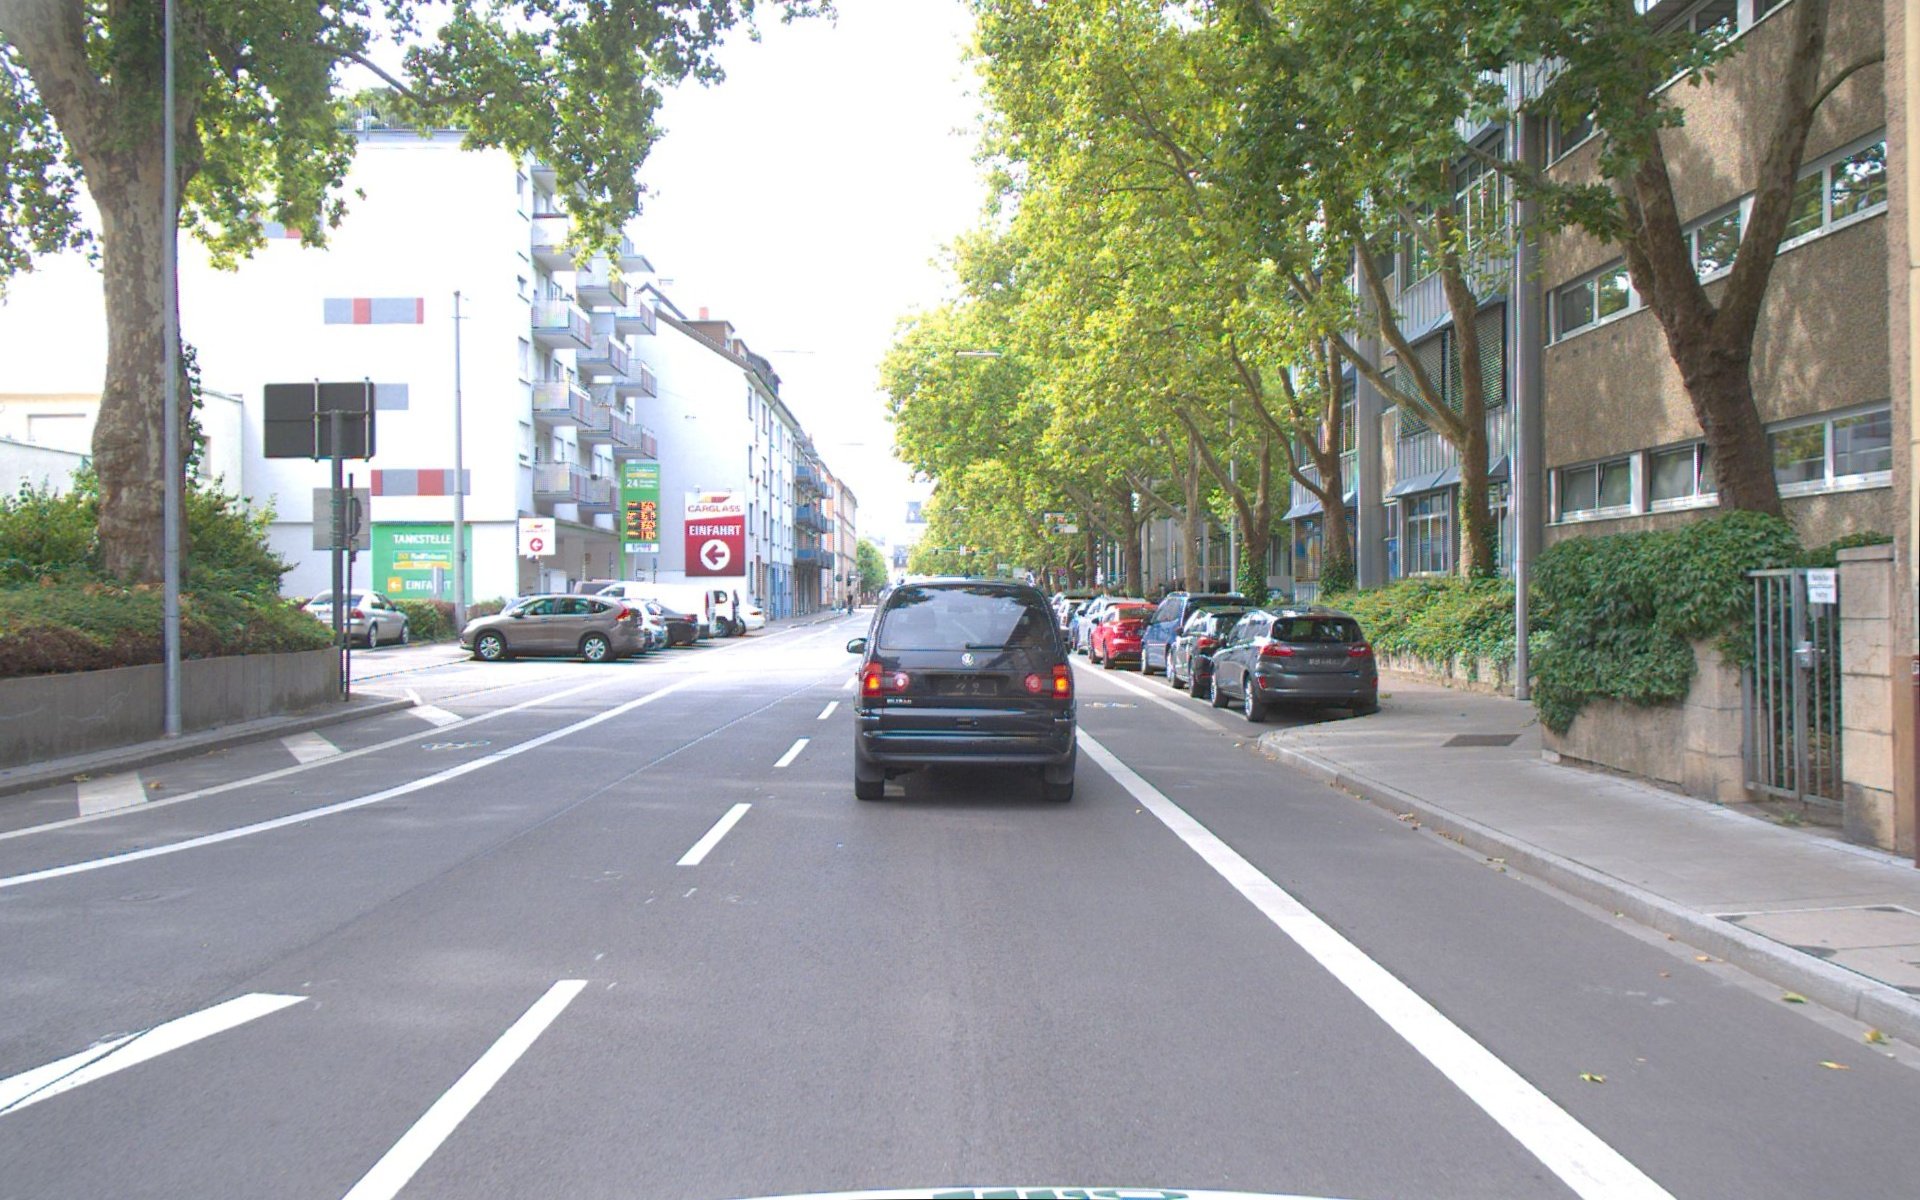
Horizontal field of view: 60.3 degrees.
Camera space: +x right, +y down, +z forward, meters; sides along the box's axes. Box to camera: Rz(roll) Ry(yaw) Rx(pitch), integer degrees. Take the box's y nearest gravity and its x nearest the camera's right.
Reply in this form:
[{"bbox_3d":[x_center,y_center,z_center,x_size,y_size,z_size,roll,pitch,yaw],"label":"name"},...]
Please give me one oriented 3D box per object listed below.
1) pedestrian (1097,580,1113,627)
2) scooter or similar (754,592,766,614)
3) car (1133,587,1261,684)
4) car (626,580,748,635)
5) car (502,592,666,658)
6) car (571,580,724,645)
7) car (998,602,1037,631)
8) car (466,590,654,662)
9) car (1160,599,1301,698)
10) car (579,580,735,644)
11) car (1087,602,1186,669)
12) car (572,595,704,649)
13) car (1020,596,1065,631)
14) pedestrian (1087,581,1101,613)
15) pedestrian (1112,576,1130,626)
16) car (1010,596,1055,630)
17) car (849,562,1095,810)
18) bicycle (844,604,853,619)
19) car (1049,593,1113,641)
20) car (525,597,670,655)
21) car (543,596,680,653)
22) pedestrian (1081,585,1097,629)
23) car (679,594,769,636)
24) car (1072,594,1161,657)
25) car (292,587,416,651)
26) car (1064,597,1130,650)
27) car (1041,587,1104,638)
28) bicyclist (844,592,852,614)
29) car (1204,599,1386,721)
[{"bbox_3d":[5.888,0.135,67.301,0.575,1.870,0.692,1,1,0],"label":"pedestrian"},{"bbox_3d":[-10.282,0.140,85.024,0.619,1.052,2.012,1,-2,-7],"label":"scooter or similar"},{"bbox_3d":[4.562,0.637,32.386,1.624,1.679,4.418,1,1,-3],"label":"car"},{"bbox_3d":[-10.146,0.293,61.670,4.221,1.902,1.823,2,0,-3],"label":"car"},{"bbox_3d":[-9.872,0.638,43.589,3.859,1.597,1.754,2,1,1],"label":"car"},{"bbox_3d":[-9.880,0.391,52.533,4.434,1.911,2.047,2,0,0],"label":"car"},{"bbox_3d":[3.018,0.872,87.417,1.609,1.438,3.413,2,0,-5],"label":"car"},{"bbox_3d":[-9.893,0.631,41.135,4.170,1.633,1.968,1,2,-1],"label":"car"},{"bbox_3d":[4.444,0.748,27.681,1.624,1.447,3.946,-1,1,-2],"label":"car"},{"bbox_3d":[-10.064,0.402,55.200,4.817,1.936,1.999,2,0,-2],"label":"car"},{"bbox_3d":[3.941,0.760,37.537,1.642,1.418,4.459,0,0,-2],"label":"car"},{"bbox_3d":[-9.668,0.652,49.856,3.608,1.470,1.753,2,1,-2],"label":"car"},{"bbox_3d":[3.547,0.543,71.745,1.641,1.418,4.460,2,0,-1],"label":"car"},{"bbox_3d":[7.907,-0.159,97.604,0.751,1.863,0.516,0,0,-1],"label":"pedestrian"},{"bbox_3d":[6.518,0.033,66.974,0.629,2.010,0.692,1,1,0],"label":"pedestrian"},{"bbox_3d":[3.313,0.577,75.889,1.609,1.438,3.413,2,0,-5],"label":"car"},{"bbox_3d":[0.030,0.628,13.905,1.776,1.797,3.736,0,0,-2],"label":"car"},{"bbox_3d":[-8.701,0.900,129.130,0.618,1.052,2.013,1,-2,-3],"label":"bicycle"},{"bbox_3d":[3.866,0.525,53.234,1.597,1.495,4.316,0,0,-2],"label":"car"},{"bbox_3d":[-9.942,0.696,45.590,3.608,1.451,1.753,2,1,-2],"label":"car"},{"bbox_3d":[-10.047,0.692,47.879,3.608,1.511,1.753,2,1,-2],"label":"car"},{"bbox_3d":[5.253,0.278,67.161,0.575,1.731,0.508,1,1,0],"label":"pedestrian"},{"bbox_3d":[-9.149,0.575,64.254,3.276,1.523,1.595,1,0,-3],"label":"car"},{"bbox_3d":[4.033,0.621,43.221,1.693,1.543,4.869,1,0,-2],"label":"car"},{"bbox_3d":[-15.782,0.457,43.310,1.722,1.545,4.233,1,1,-1],"label":"car"},{"bbox_3d":[3.969,0.659,48.414,1.588,1.410,4.000,2,0,0],"label":"car"},{"bbox_3d":[3.919,0.398,58.293,1.635,1.669,4.501,2,0,-3],"label":"car"},{"bbox_3d":[-8.774,0.244,129.399,0.640,1.639,0.655,1,-3,-4],"label":"bicyclist"},{"bbox_3d":[4.523,0.758,22.828,1.624,1.447,3.865,-1,1,-2],"label":"car"}]
